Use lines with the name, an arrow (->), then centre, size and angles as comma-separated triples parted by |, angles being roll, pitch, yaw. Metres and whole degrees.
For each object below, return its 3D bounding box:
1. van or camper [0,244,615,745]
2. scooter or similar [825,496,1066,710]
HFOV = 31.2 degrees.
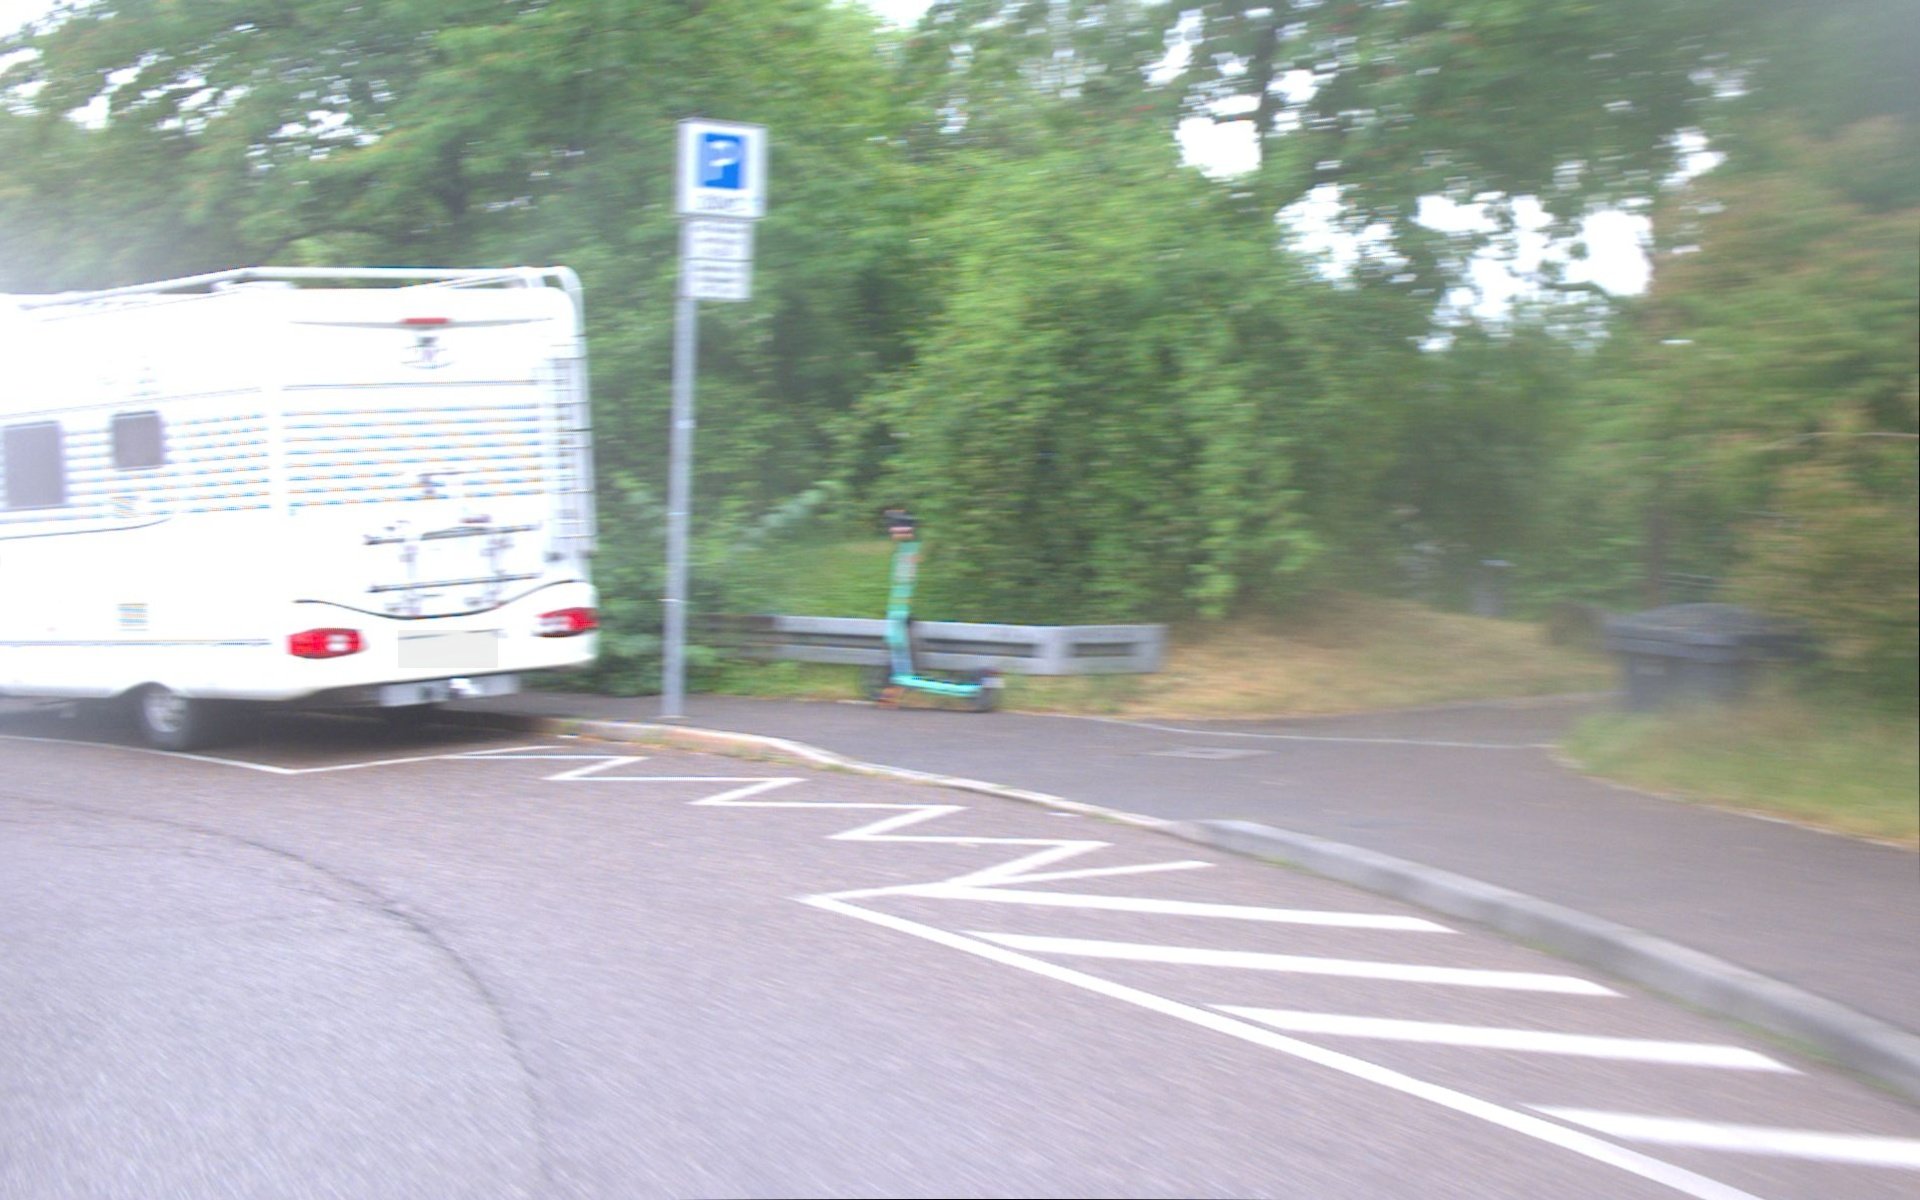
van or camper -> -5.249, -0.763, 23.243 | 2.391, 2.933, 6.278 | -5, 5, -43
scooter or similar -> -0.108, 0.011, 21.339 | 0.450, 1.278, 1.709 | -2, 2, -42
